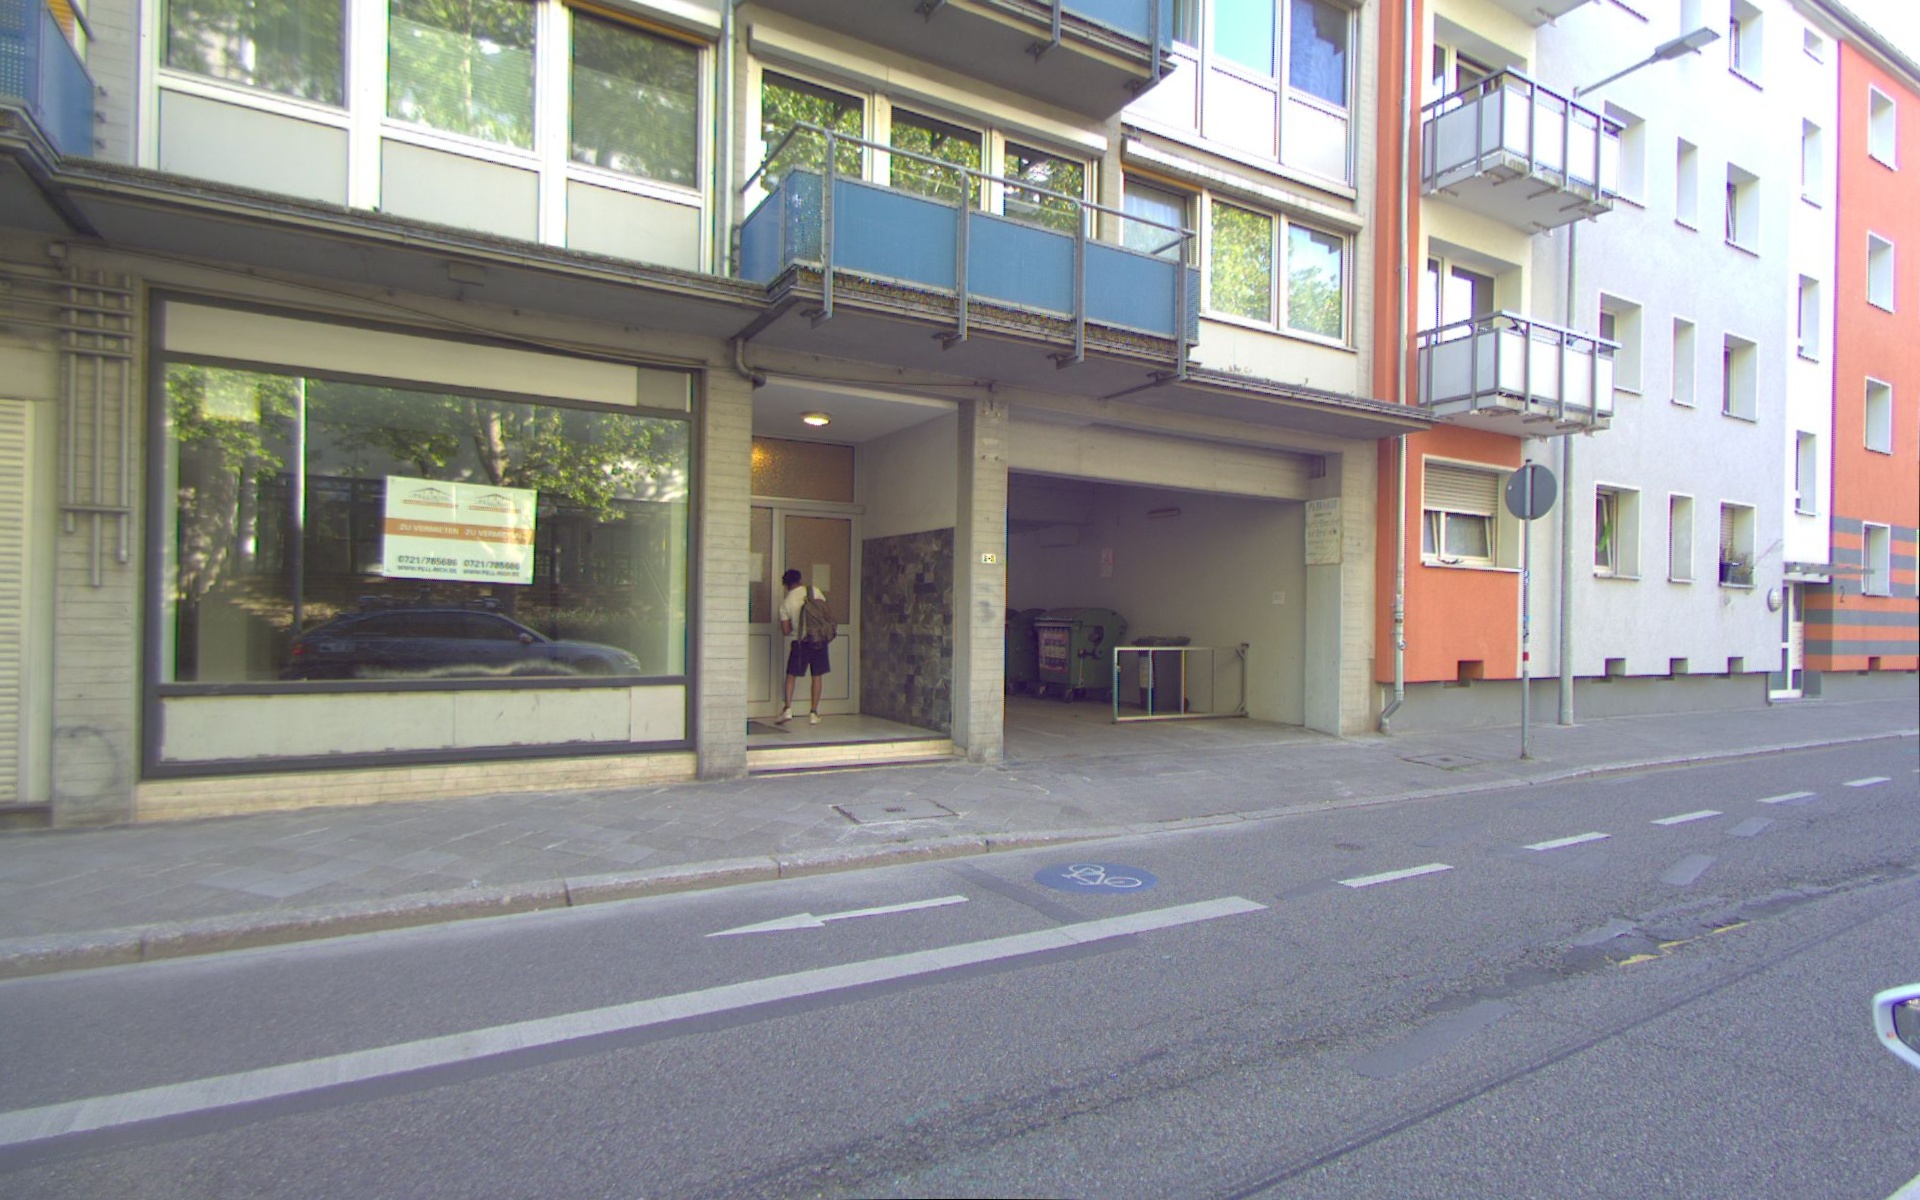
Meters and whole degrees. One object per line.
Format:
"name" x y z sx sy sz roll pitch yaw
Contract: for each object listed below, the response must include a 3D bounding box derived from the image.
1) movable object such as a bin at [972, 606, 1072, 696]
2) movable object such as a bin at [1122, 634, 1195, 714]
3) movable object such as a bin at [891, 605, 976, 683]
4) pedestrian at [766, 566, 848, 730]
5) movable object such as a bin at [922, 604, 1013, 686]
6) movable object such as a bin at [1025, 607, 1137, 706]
"movable object such as a bin" 1.047 0.845 17.197 1.182 1.452 1.300 2 0 -30
"movable object such as a bin" 2.865 1.058 14.527 0.707 1.089 0.735 2 0 -30
"movable object such as a bin" -0.534 0.855 19.935 1.182 1.452 1.300 2 0 -30
"pedestrian" -1.598 0.478 10.391 0.558 1.606 0.919 1 0 -27
"movable object such as a bin" 0.134 0.825 18.771 1.182 1.452 1.300 2 0 -30
"movable object such as a bin" 1.887 0.864 15.810 1.182 1.452 1.300 2 0 -30
